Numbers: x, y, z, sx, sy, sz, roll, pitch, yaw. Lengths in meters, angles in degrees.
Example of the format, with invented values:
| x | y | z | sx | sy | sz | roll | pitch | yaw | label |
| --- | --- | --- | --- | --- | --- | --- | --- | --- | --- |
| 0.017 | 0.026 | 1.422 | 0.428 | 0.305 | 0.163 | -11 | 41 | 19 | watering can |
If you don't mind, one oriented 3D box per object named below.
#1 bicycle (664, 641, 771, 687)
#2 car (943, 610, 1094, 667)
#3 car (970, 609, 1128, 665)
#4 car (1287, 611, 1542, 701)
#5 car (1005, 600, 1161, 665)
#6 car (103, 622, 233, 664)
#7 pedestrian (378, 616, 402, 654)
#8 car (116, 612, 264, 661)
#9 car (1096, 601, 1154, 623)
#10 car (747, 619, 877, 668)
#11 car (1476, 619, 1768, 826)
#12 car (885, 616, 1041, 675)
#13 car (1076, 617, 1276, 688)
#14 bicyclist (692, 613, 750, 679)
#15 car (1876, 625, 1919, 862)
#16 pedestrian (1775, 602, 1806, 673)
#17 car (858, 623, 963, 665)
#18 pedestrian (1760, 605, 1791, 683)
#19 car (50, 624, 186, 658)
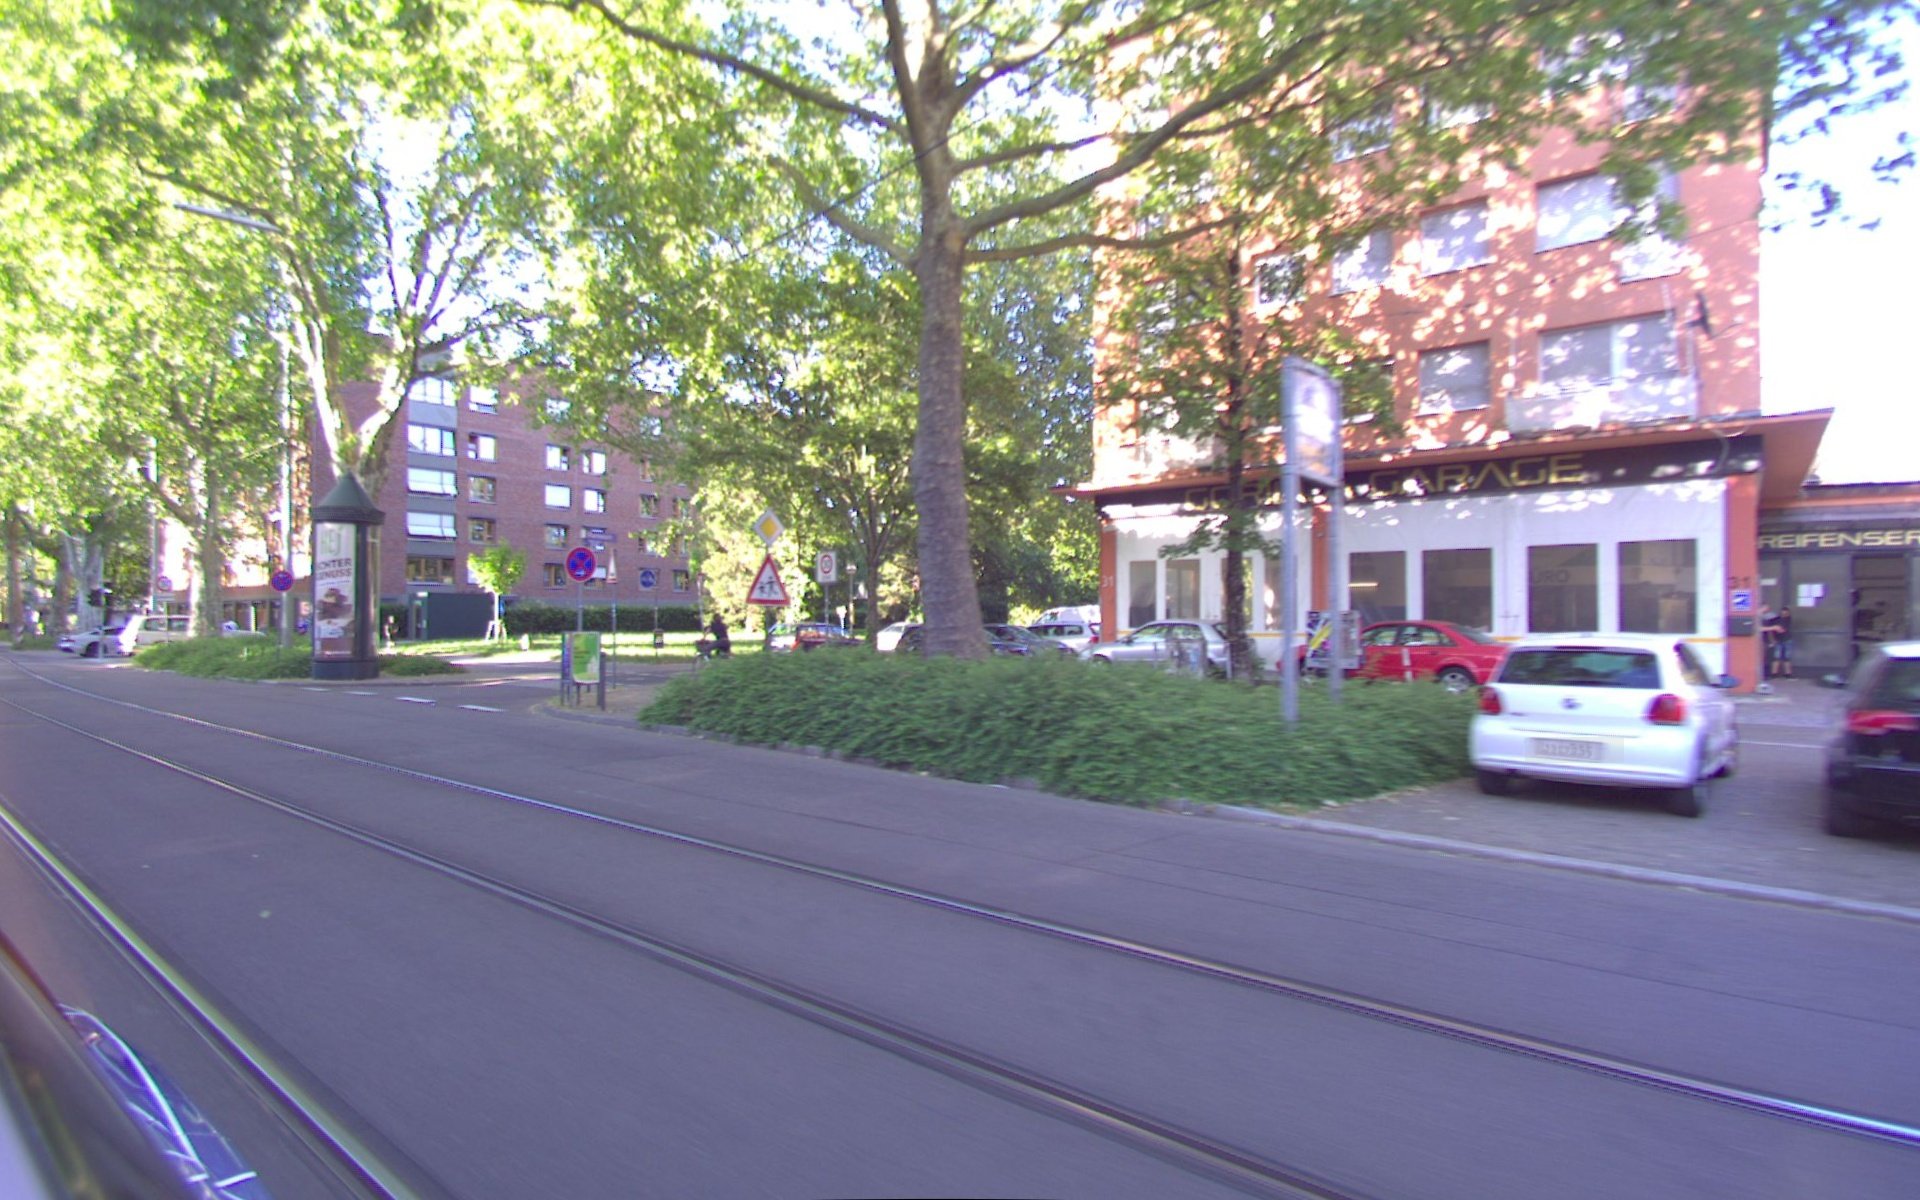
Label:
| x | y | z | sx | sy | sz | roll | pitch | yaw | label |
| --- | --- | --- | --- | --- | --- | --- | --- | --- | --- |
| -5.843 | 1.508 | 24.304 | 2.573 | 1.006 | 0.961 | -1 | -1 | 31 | bicycle |
| 1.677 | 1.078 | 29.620 | 3.993 | 1.537 | 1.975 | -1 | -1 | 37 | car |
| 2.744 | 1.104 | 31.548 | 4.547 | 1.630 | 1.977 | -1 | -1 | 35 | car |
| 8.482 | 0.979 | 19.052 | 3.998 | 1.498 | 1.927 | -1 | -1 | 41 | car |
| 4.047 | 1.048 | 33.924 | 4.916 | 2.019 | 1.973 | -1 | -1 | 40 | car |
| -33.803 | 1.789 | 43.287 | 1.900 | 1.659 | 4.098 | -1 | -1 | 39 | car |
| -25.745 | 1.581 | 45.700 | 0.779 | 1.686 | 0.702 | -1 | -1 | 41 | pedestrian |
| -31.440 | 1.448 | 41.427 | 1.937 | 1.848 | 4.525 | -1 | -1 | 39 | car |
| 12.686 | 0.927 | 77.887 | 1.869 | 1.630 | 4.108 | 0 | -1 | -44 | car |
| -4.977 | 1.429 | 34.561 | 1.856 | 1.500 | 4.488 | -1 | -1 | 35 | car |
| 6.155 | 0.936 | 9.269 | 1.697 | 1.476 | 3.382 | -1 | -1 | 43 | car |
| 0.055 | 1.224 | 27.996 | 3.985 | 1.504 | 1.799 | -1 | -1 | 31 | car |
| 4.730 | 1.090 | 22.419 | 3.891 | 1.418 | 1.927 | -1 | -1 | 41 | car |
| -5.734 | 1.089 | 24.267 | 1.113 | 1.518 | 0.794 | -1 | -1 | 31 | bicyclist |
| 7.901 | 0.952 | 7.435 | 1.687 | 1.476 | 3.562 | -1 | -1 | 43 | car |
| 19.695 | 0.878 | 24.002 | 0.549 | 1.673 | 0.498 | -1 | -1 | 40 | pedestrian |
| -1.850 | 1.653 | 39.258 | 1.818 | 1.461 | 4.433 | -1 | -1 | 33 | car |
| 19.049 | 1.015 | 23.633 | 0.520 | 1.791 | 0.534 | -1 | -1 | 40 | pedestrian |
| -40.058 | 1.903 | 48.232 | 1.953 | 1.471 | 4.717 | -1 | -1 | 39 | car |
